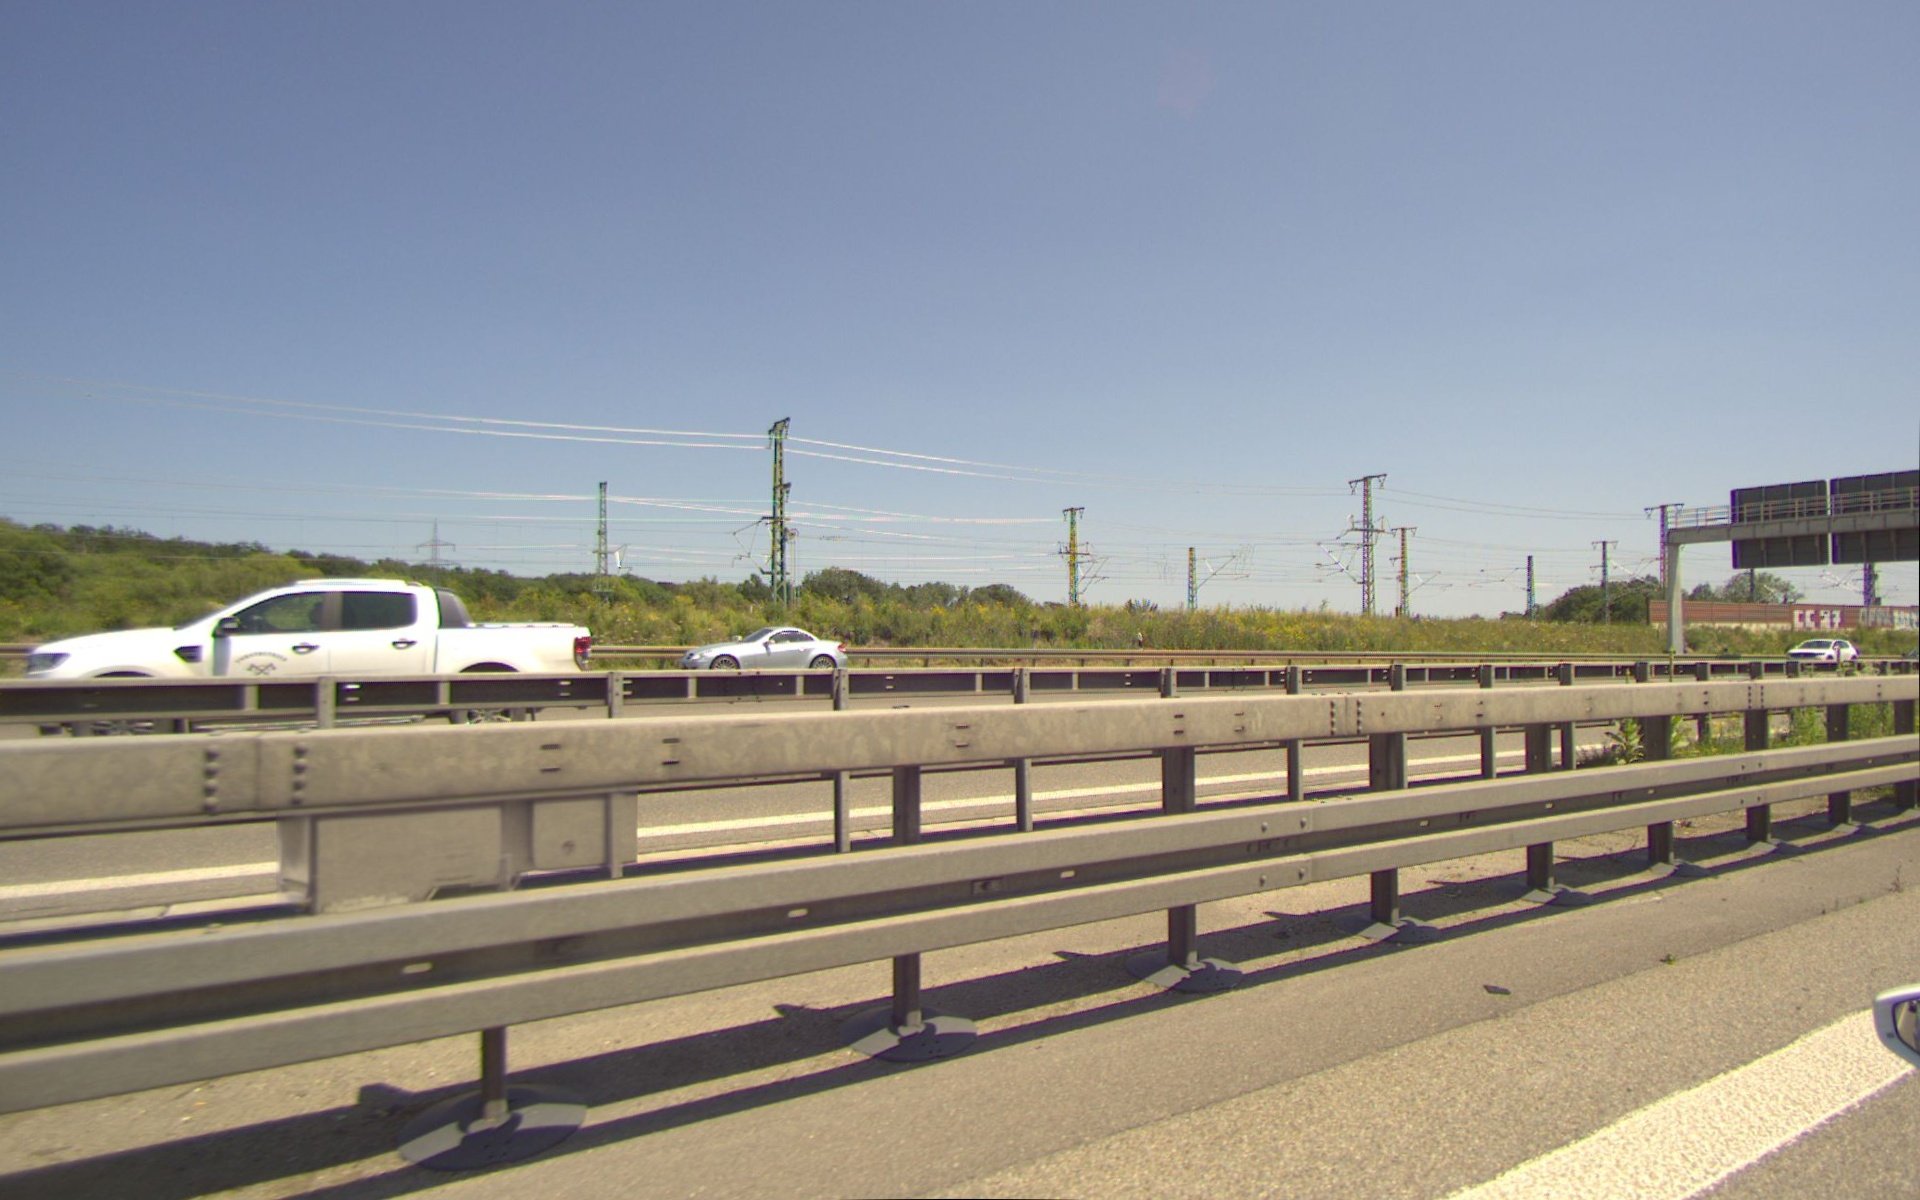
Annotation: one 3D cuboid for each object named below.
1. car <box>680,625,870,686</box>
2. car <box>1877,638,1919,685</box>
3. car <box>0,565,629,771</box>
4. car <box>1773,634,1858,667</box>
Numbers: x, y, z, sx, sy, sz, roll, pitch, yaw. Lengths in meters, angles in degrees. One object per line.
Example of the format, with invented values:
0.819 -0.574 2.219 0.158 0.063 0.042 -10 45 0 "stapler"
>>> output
-4.485 1.322 24.434 4.115 1.329 1.984 2 -1 -31 "car"
33.088 2.082 33.931 4.425 1.503 1.919 2 -1 -31 "car"
-6.811 0.699 11.341 5.535 1.855 1.984 2 -1 -31 "car"
44.449 2.631 52.168 4.423 1.597 1.985 2 -1 -29 "car"
